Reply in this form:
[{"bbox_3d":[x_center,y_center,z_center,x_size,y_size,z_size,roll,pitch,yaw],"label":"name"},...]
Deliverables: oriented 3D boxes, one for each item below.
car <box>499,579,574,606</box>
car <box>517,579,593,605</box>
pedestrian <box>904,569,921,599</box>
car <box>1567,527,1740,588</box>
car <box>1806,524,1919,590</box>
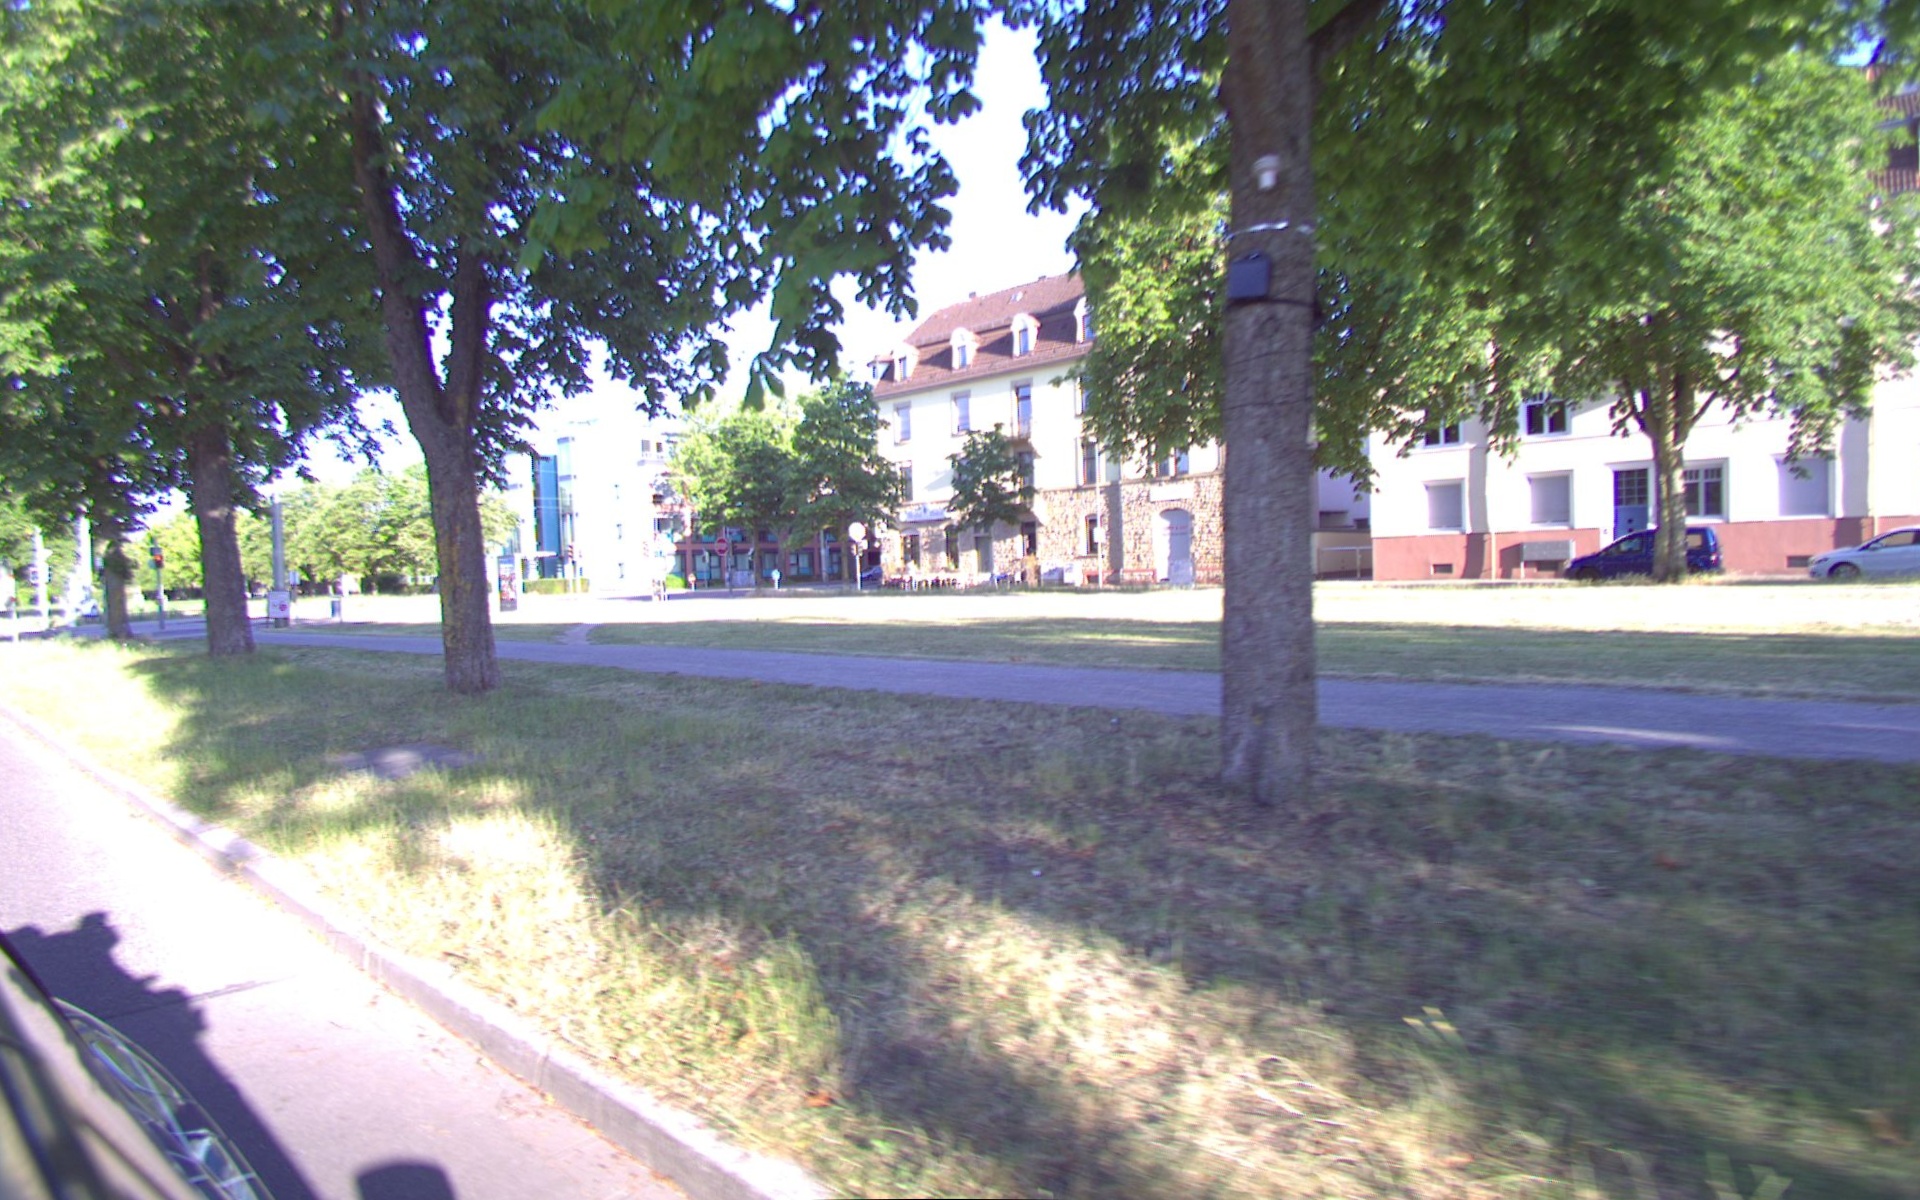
[{"bbox_3d":[-33.657,-0.665,80.529,1.966,1.683,5.158,1,6,39],"label":"car"},{"bbox_3d":[-31.642,-0.620,79.147,1.998,1.683,5.157,0,4,39],"label":"car"},{"bbox_3d":[-2.675,-0.921,57.153,0.682,1.636,0.610,1,5,40],"label":"pedestrian"},{"bbox_3d":[22.164,-1.346,32.438,4.312,1.748,1.972,1,6,43],"label":"car"},{"bbox_3d":[26.341,-1.217,28.320,4.001,1.670,1.973,1,7,43],"label":"car"}]
